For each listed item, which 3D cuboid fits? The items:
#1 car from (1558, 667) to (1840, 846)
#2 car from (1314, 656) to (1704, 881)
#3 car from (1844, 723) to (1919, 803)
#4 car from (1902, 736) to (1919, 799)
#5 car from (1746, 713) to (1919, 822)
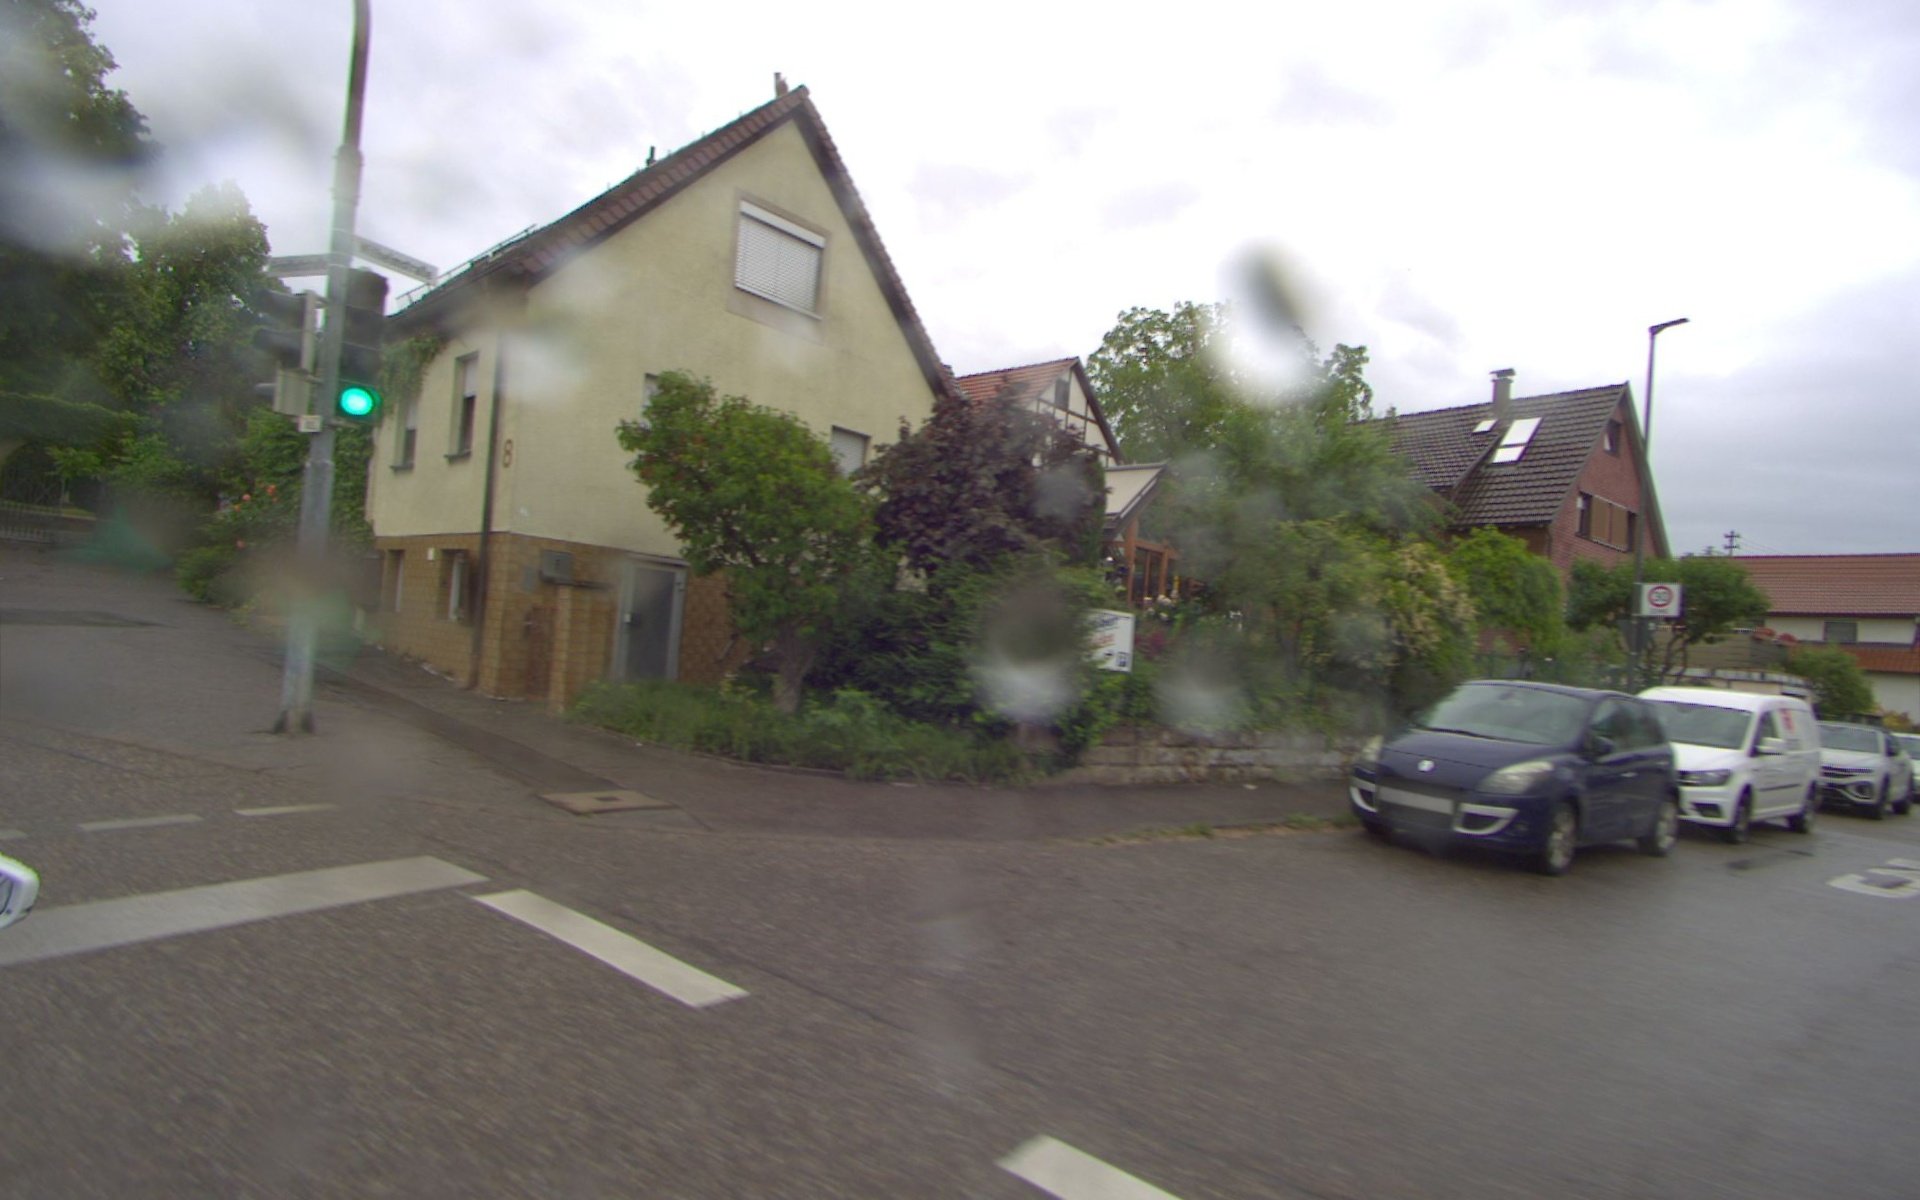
[{"bbox_3d":[9.888,2.042,13.305,4.664,1.825,1.785,8,-2,-39],"label":"car"},{"bbox_3d":[5.501,1.589,9.880,4.114,1.603,1.845,8,-2,-39],"label":"car"},{"bbox_3d":[21.408,3.712,22.666,3.387,1.526,1.649,8,-2,-40],"label":"car"},{"bbox_3d":[25.879,4.462,25.941,3.913,1.526,1.728,8,-2,-39],"label":"car"},{"bbox_3d":[15.718,2.975,17.965,3.913,1.526,1.728,8,-2,-39],"label":"car"}]
